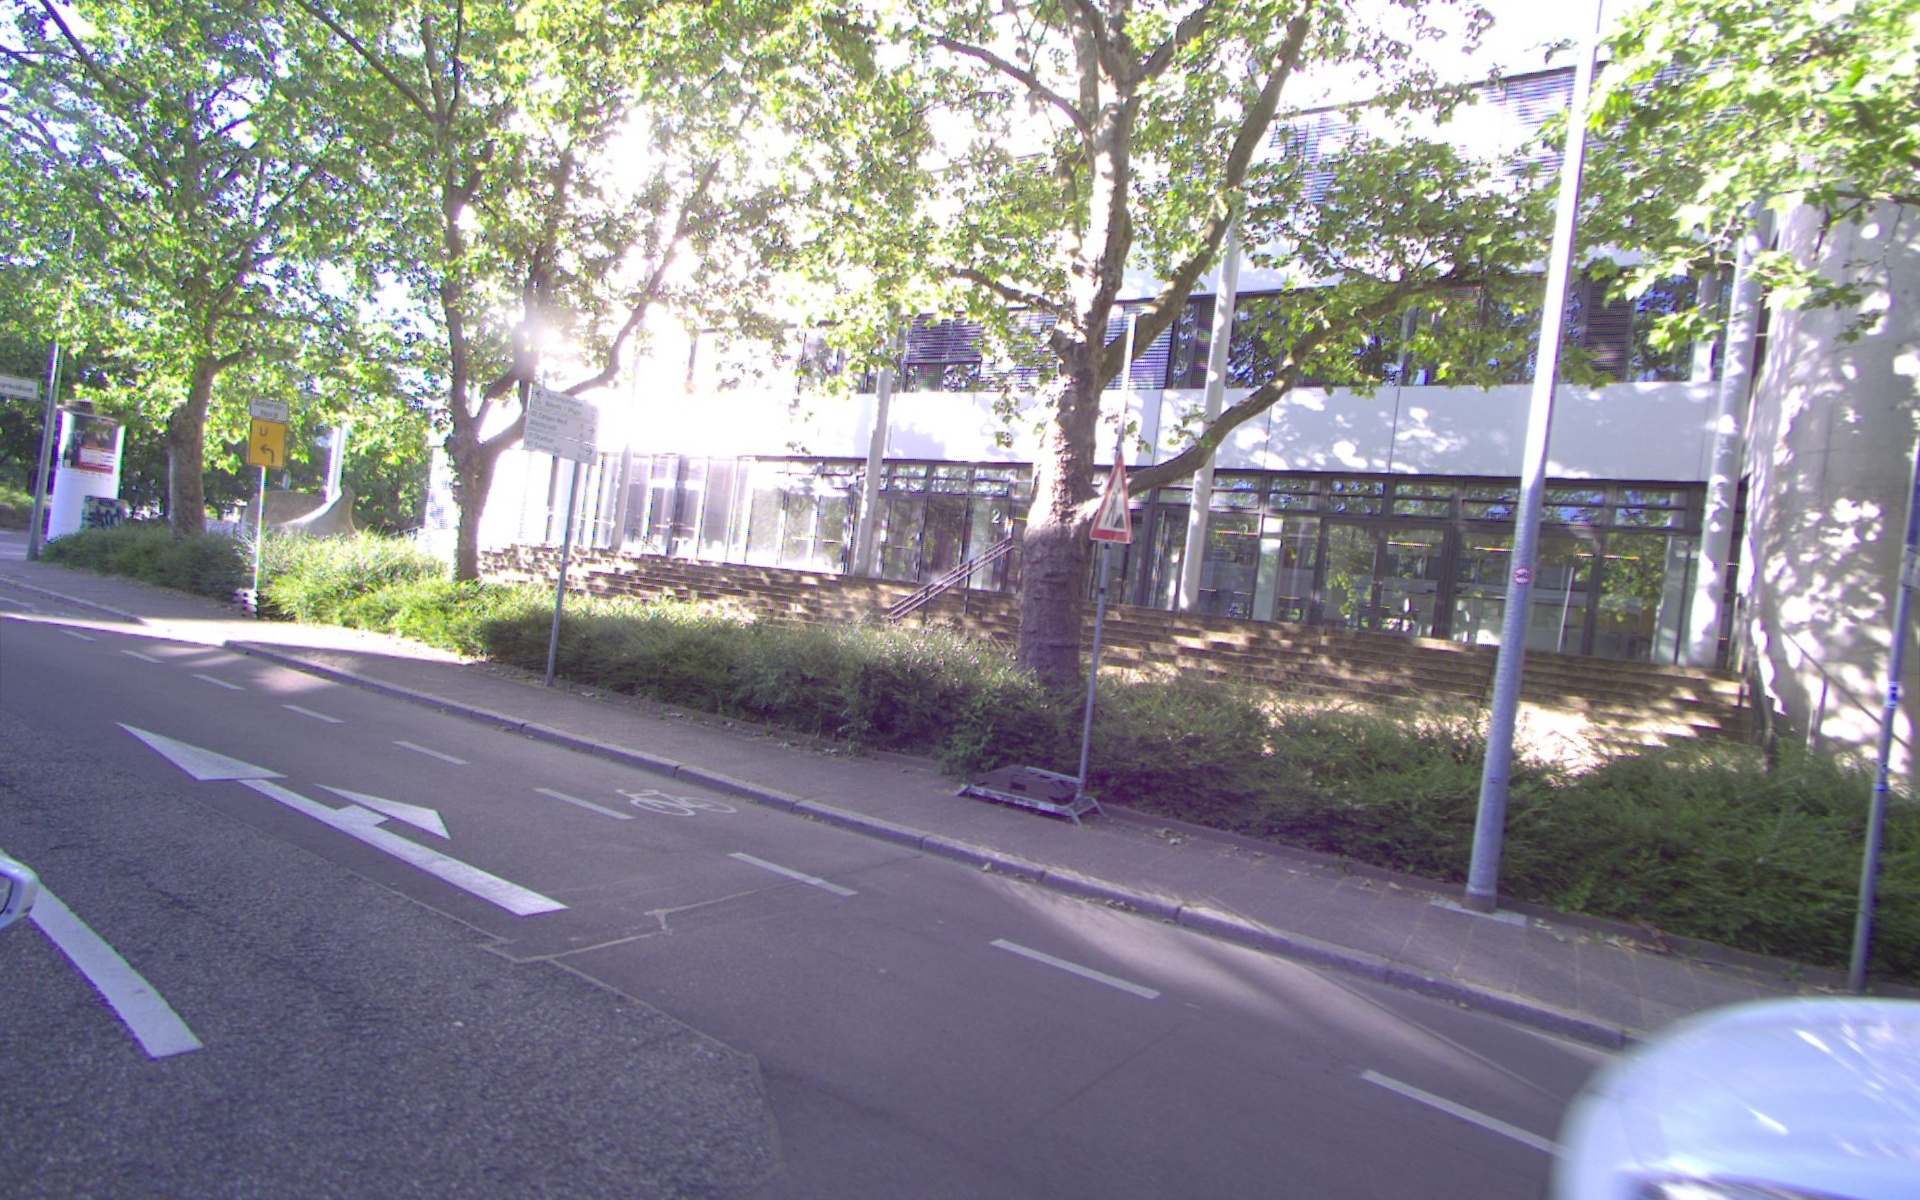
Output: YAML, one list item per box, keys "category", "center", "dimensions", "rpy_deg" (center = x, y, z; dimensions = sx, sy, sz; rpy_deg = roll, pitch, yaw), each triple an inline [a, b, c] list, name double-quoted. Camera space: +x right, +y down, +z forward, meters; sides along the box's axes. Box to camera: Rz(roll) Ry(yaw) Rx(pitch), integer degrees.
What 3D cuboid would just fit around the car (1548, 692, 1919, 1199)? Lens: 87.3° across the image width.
- category: "car"
  center: [2.874, 1.153, 1.231]
  dimensions: [3.627, 1.515, 1.681]
  rpy_deg: [6, -3, 35]
